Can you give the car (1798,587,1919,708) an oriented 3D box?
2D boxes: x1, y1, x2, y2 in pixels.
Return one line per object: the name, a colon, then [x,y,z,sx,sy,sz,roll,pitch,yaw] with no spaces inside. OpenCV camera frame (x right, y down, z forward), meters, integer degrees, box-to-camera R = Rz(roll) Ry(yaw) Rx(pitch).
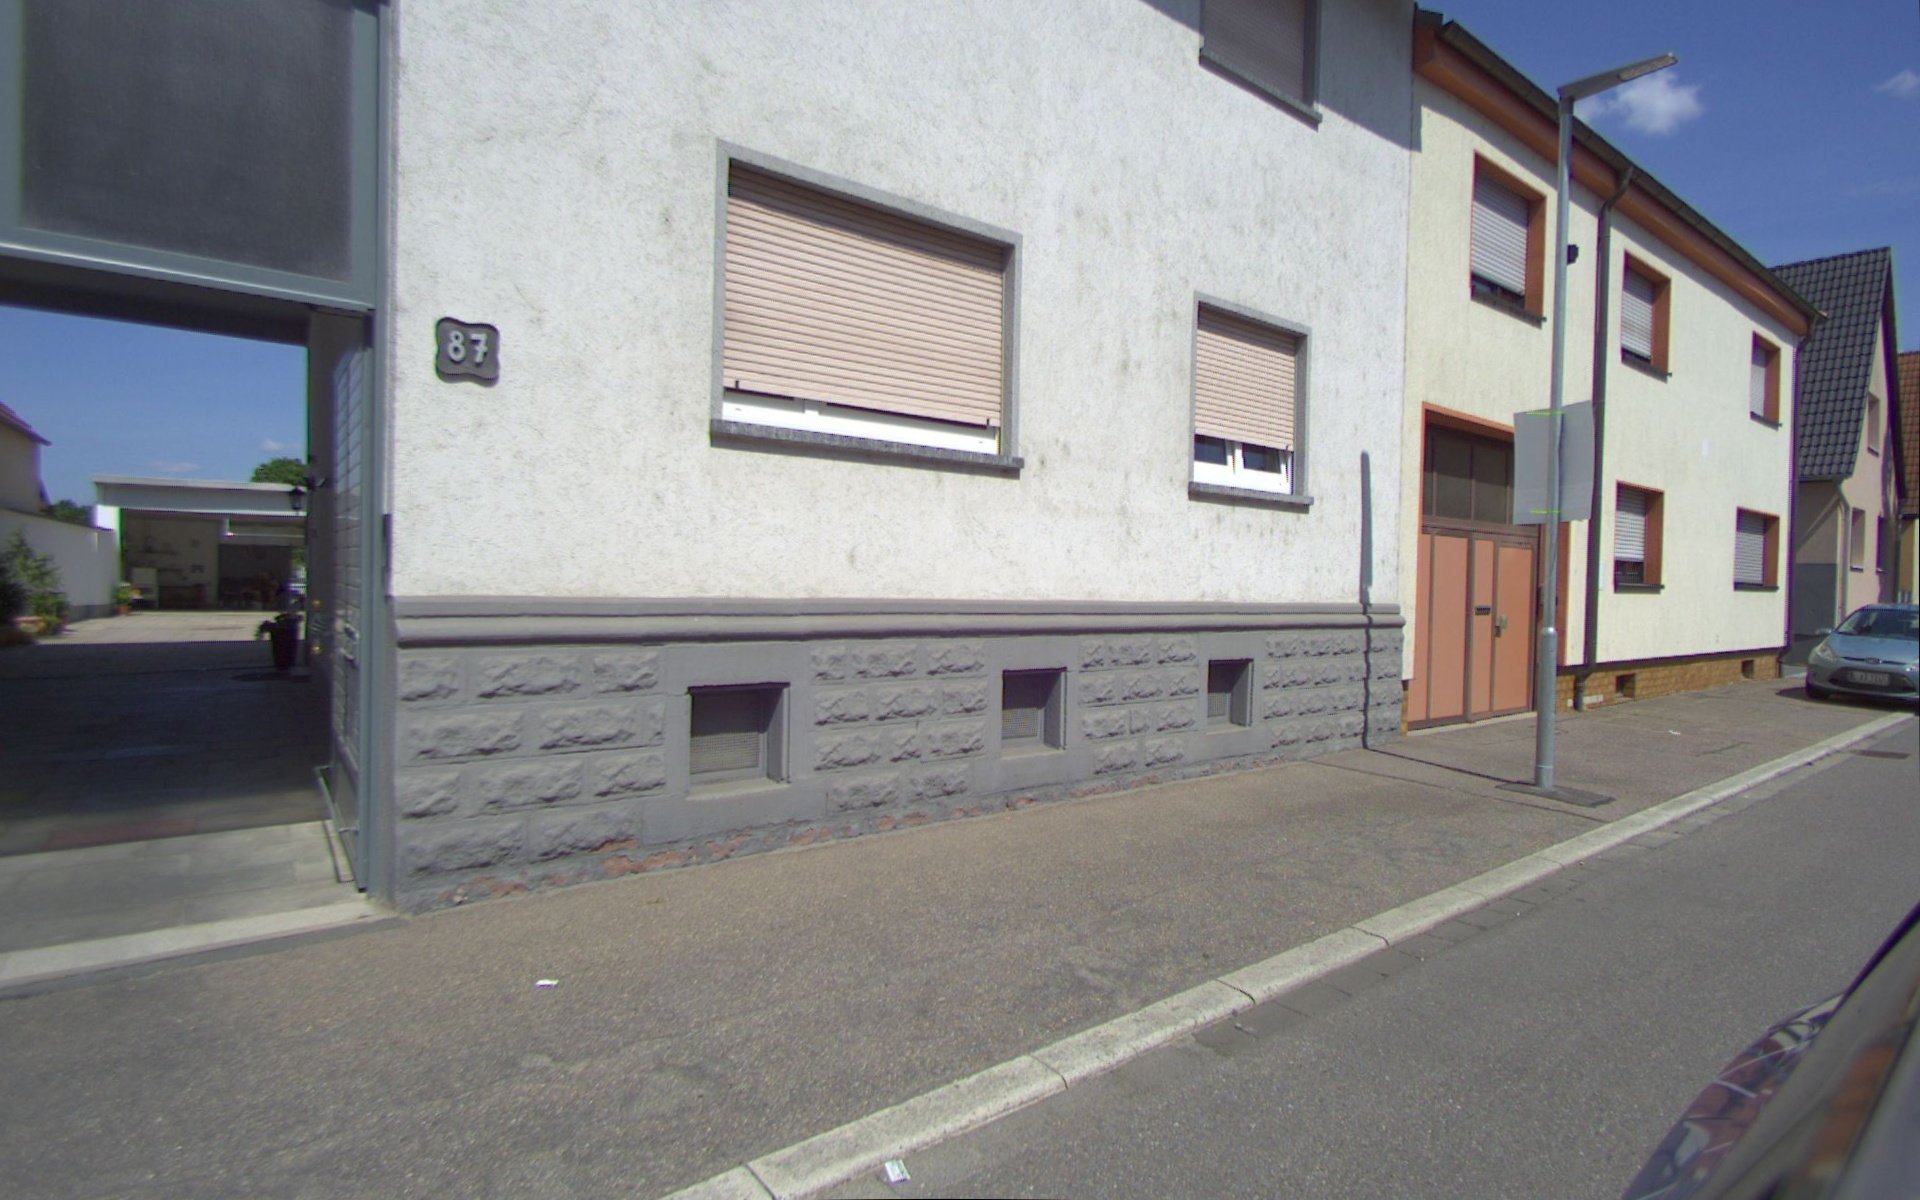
car: [14.029,0.649,14.828,3.679,1.499,1.728,0,4,-36]
